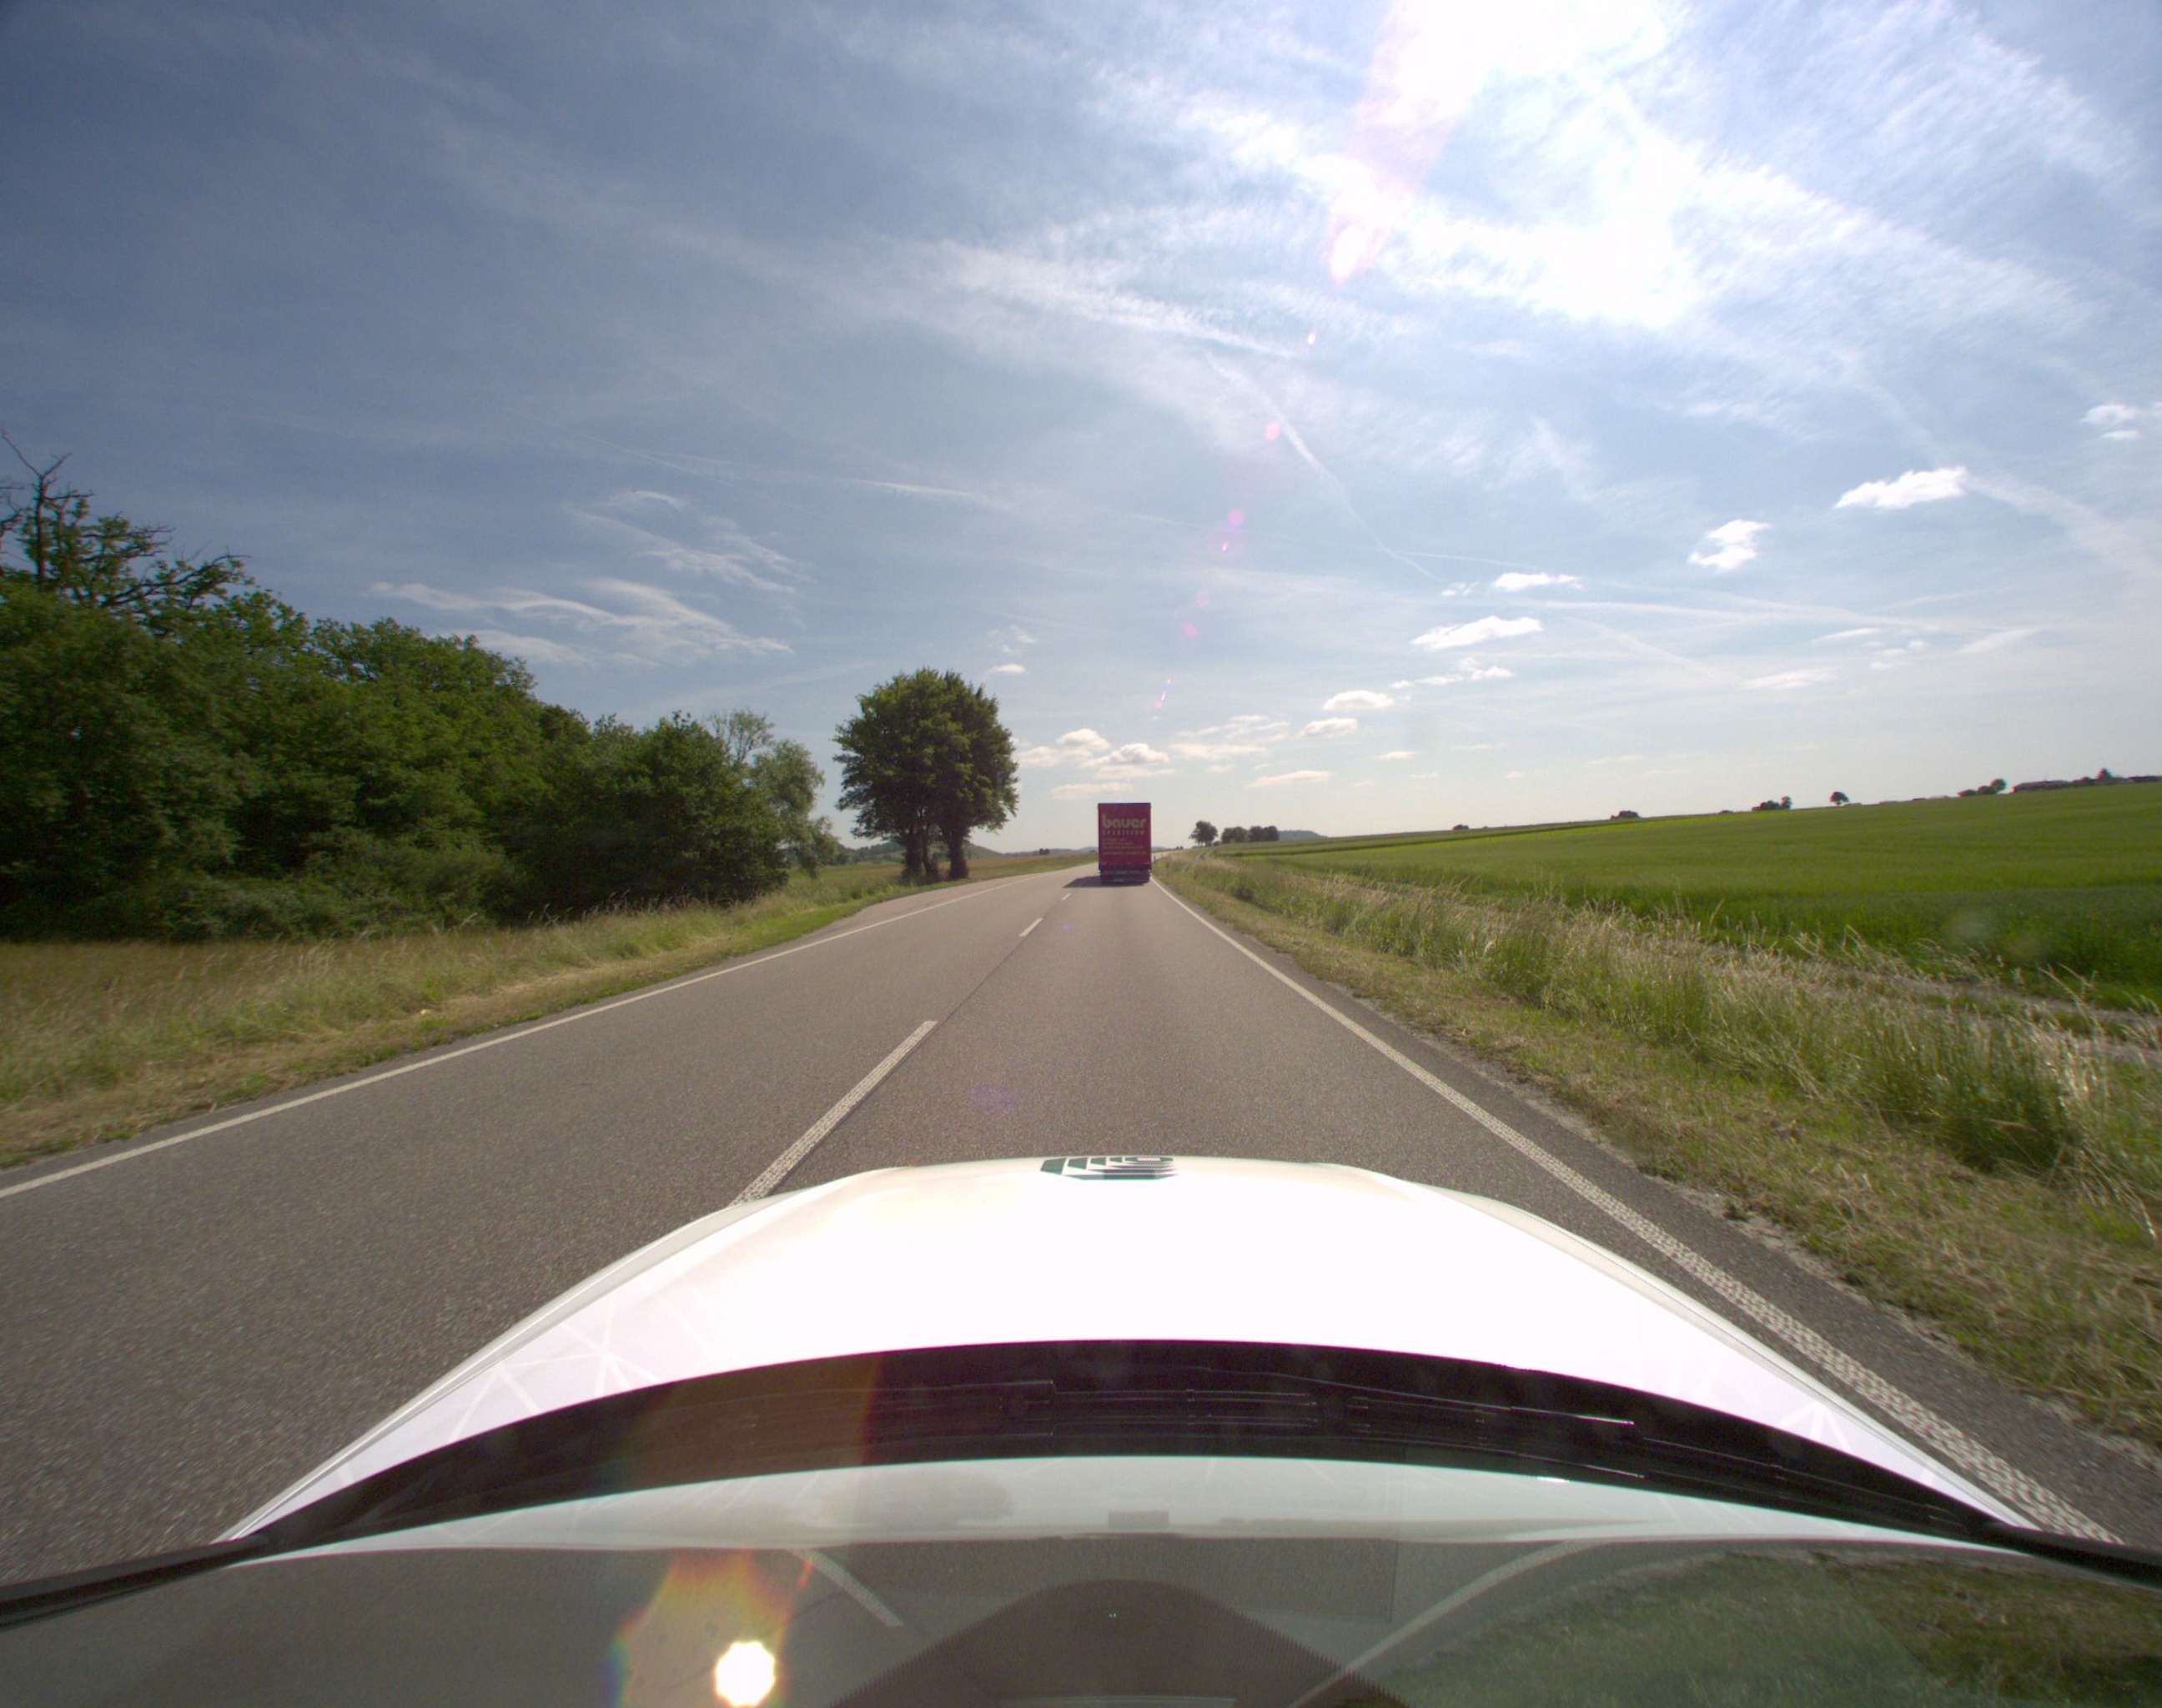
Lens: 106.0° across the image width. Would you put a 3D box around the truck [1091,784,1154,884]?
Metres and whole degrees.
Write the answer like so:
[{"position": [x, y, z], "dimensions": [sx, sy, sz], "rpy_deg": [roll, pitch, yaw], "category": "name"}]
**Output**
[{"position": [2.056, -0.913, 43.274], "dimensions": [2.965, 4.713, 9.367], "rpy_deg": [0, 0, 1], "category": "truck"}]
